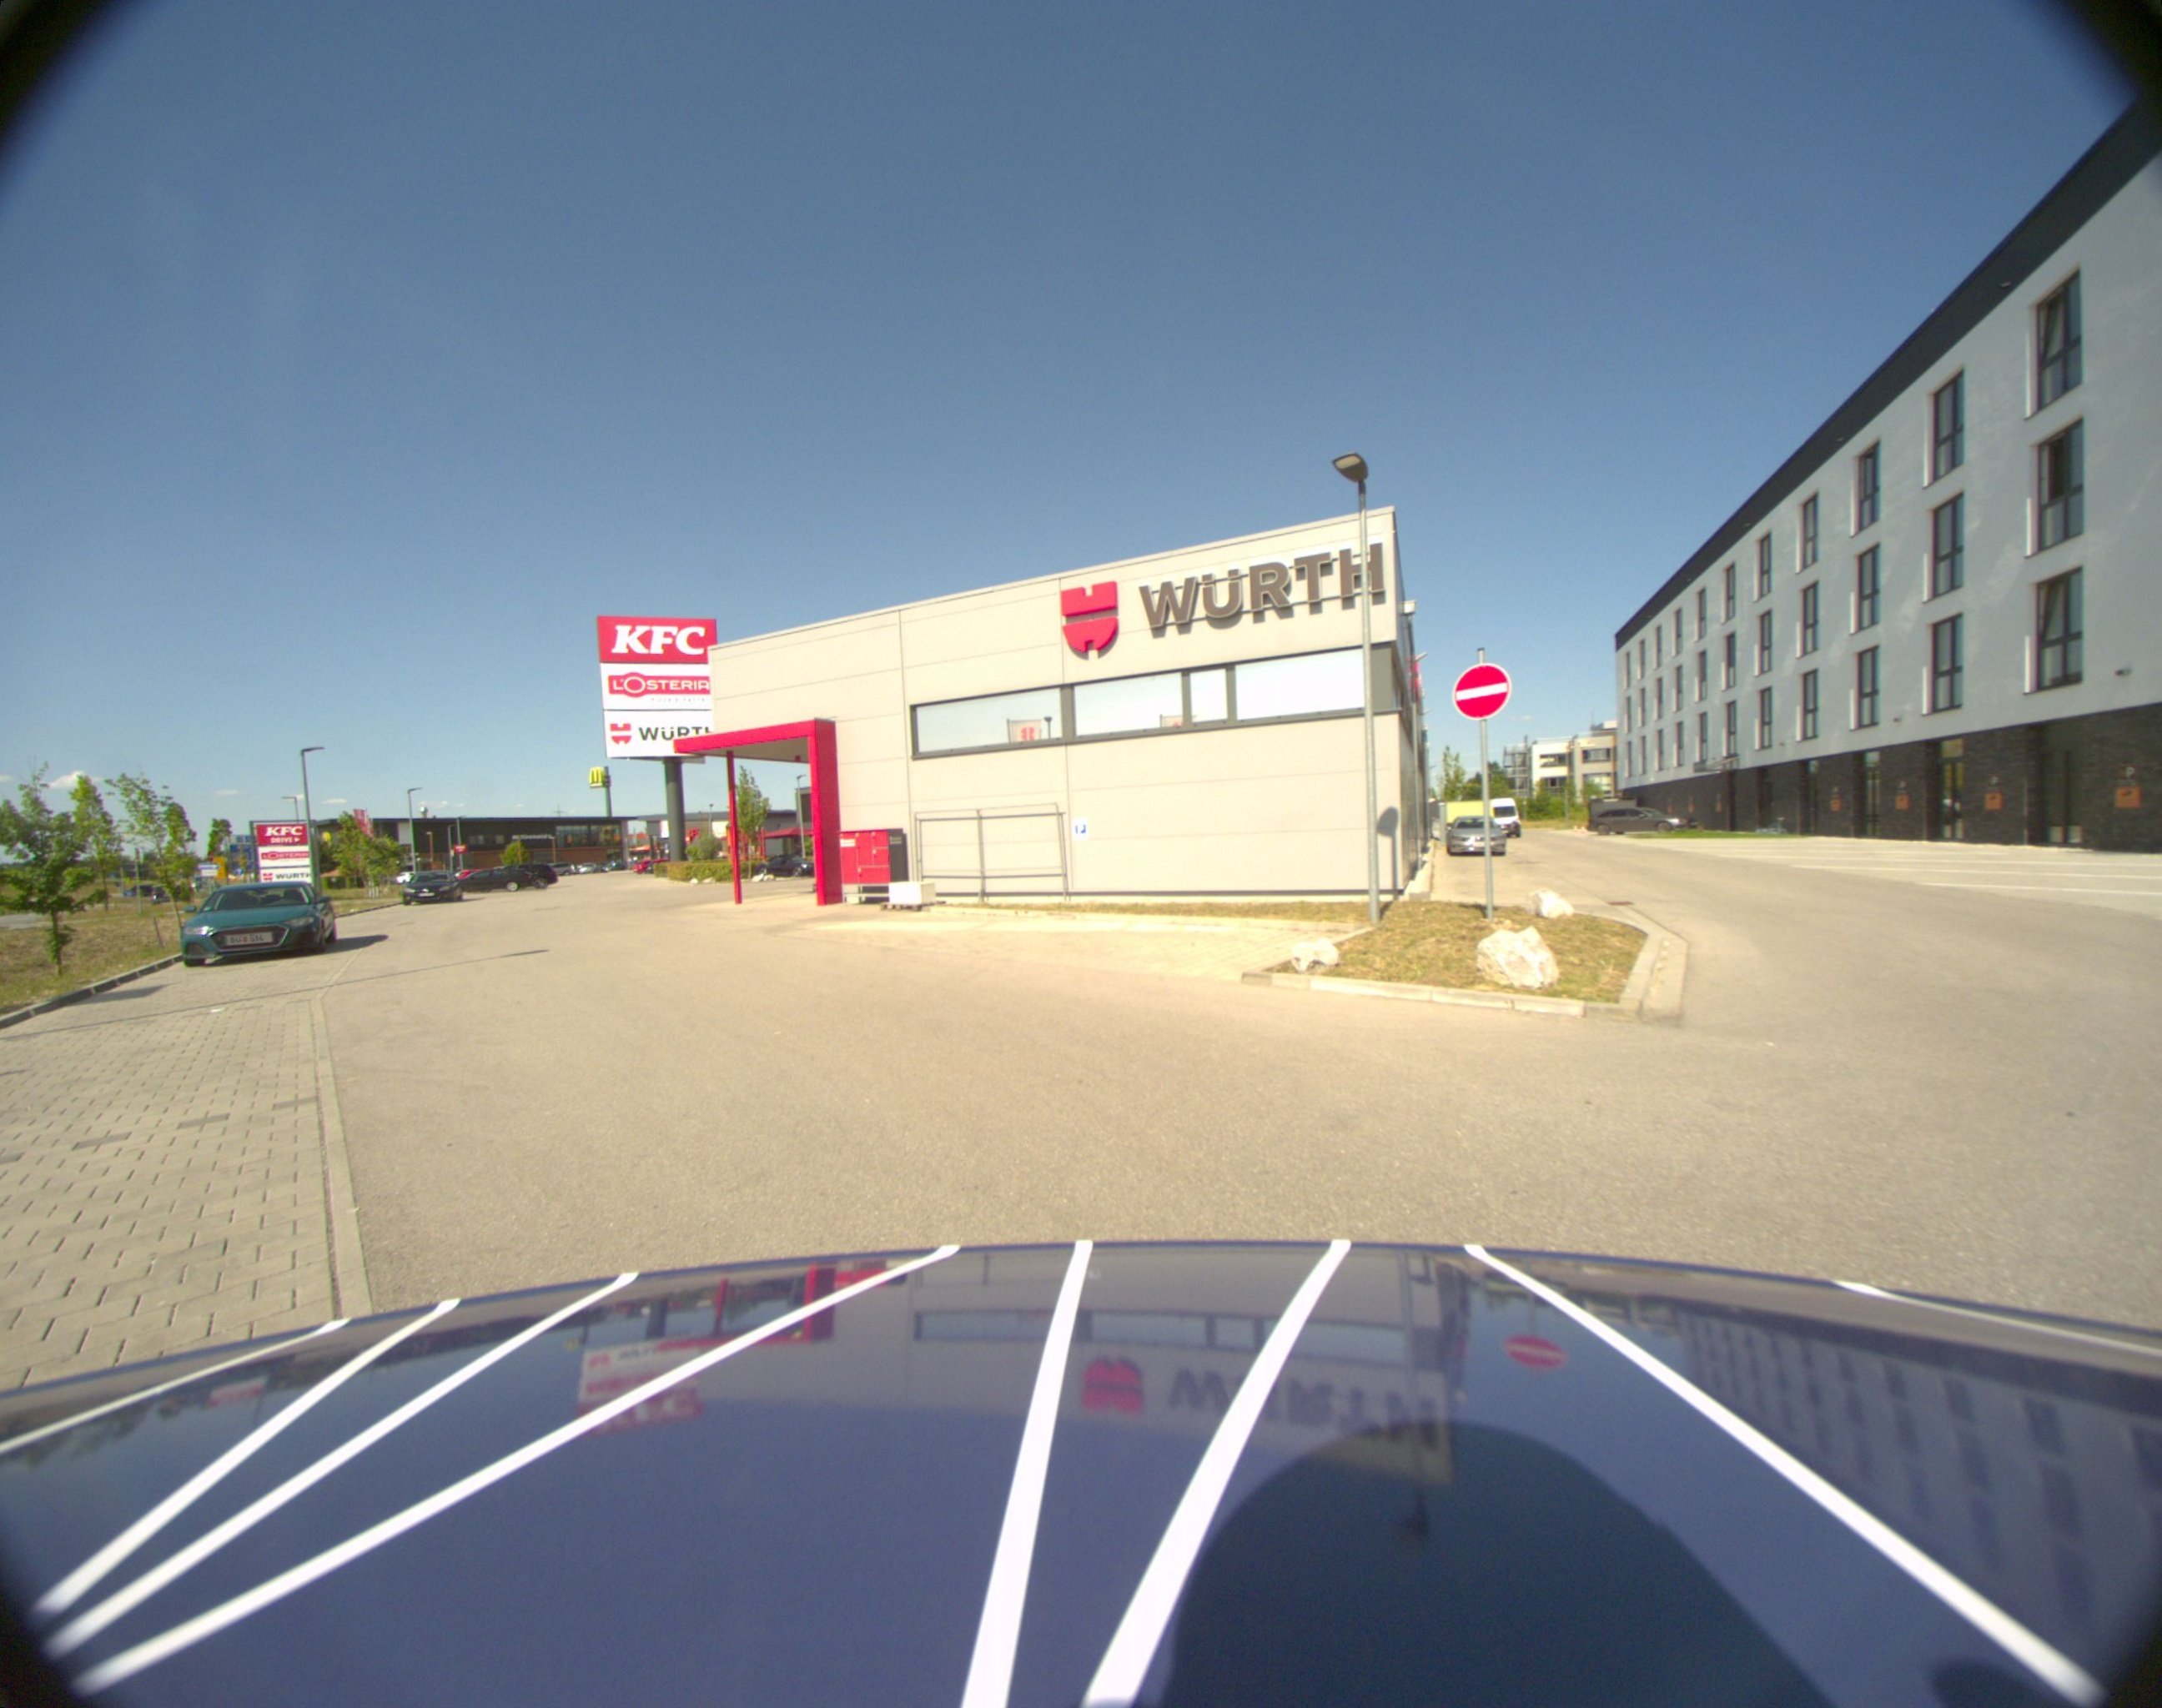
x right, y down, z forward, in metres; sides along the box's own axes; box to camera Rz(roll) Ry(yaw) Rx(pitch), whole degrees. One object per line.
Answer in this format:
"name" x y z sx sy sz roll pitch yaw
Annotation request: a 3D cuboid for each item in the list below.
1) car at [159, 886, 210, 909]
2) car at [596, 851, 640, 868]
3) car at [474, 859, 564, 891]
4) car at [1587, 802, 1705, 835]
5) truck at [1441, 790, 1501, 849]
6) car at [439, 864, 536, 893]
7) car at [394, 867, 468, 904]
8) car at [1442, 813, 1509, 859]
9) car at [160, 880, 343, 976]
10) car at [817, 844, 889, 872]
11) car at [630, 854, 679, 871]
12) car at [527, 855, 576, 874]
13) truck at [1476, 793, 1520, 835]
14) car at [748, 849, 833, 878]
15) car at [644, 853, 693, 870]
"car" -73.918 3.586 62.712 1.950 1.543 4.747 -5 3 -41
"car" -62.792 0.770 103.135 1.994 2.003 4.491 -1 3 35
"car" -37.784 1.368 51.231 4.539 1.825 1.995 -4 2 -28
"car" 29.175 -1.812 39.413 1.882 1.499 4.514 -4 2 -29
"truck" 17.456 -1.548 34.244 2.119 2.363 5.898 -2 2 25
"car" -36.614 1.475 46.993 4.541 1.450 1.995 -4 2 -38
"car" -29.858 1.400 35.026 1.881 1.457 4.353 -4 2 -32
"car" 14.573 -0.712 28.255 1.875 1.499 4.005 -2 2 23
"car" -16.170 1.328 15.054 1.849 1.441 4.215 -4 2 -40
"car" -13.617 0.249 45.349 3.904 1.466 1.806 -2 2 29
"car" -45.687 0.887 81.445 1.873 1.557 4.103 -2 2 36
"car" -65.872 1.268 94.630 1.994 2.003 4.491 -1 3 35
"truck" 26.096 -2.487 47.740 1.995 2.363 5.898 -2 2 25
"car" -15.649 0.507 40.932 4.144 1.330 1.833 -2 2 24
"car" -43.390 0.769 79.983 1.873 1.557 4.103 -2 2 36
